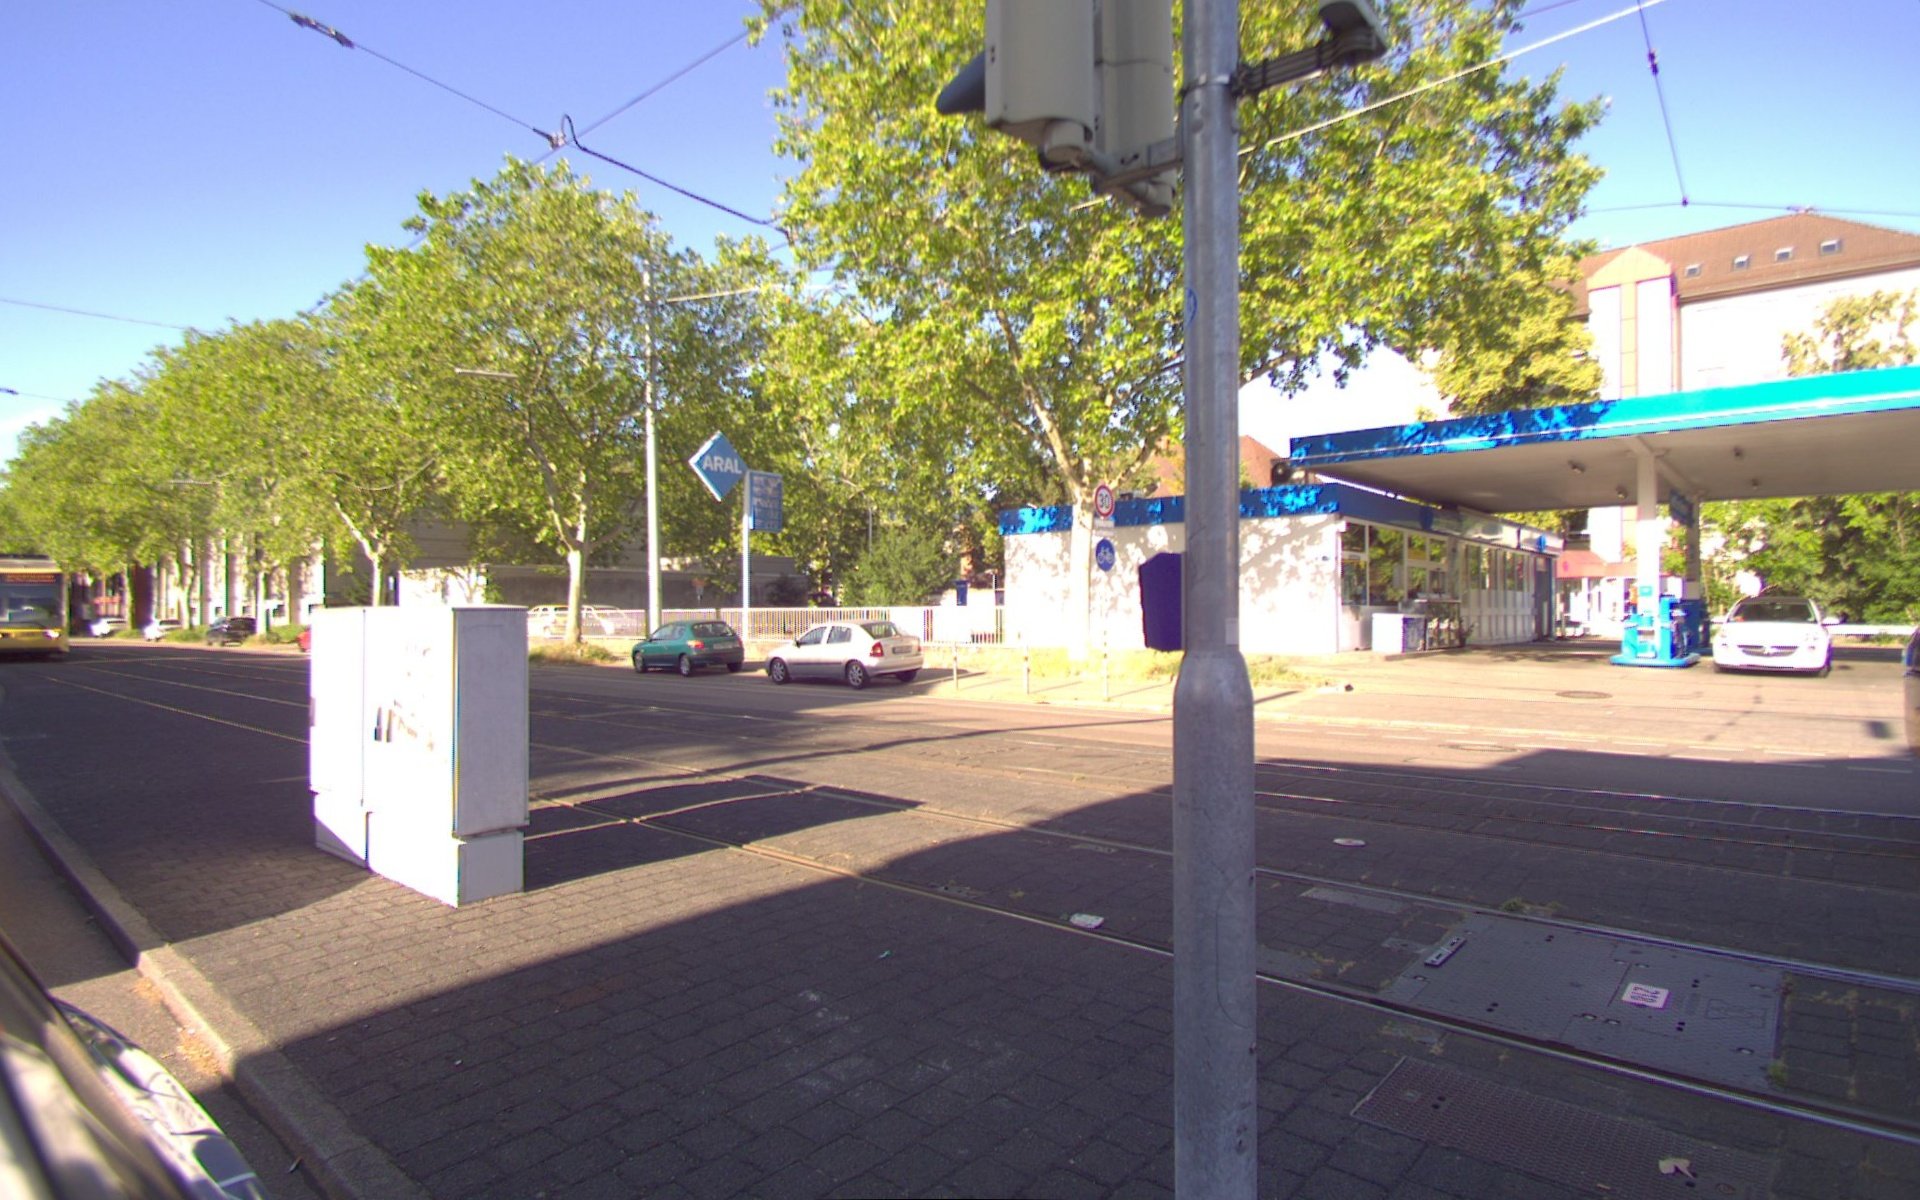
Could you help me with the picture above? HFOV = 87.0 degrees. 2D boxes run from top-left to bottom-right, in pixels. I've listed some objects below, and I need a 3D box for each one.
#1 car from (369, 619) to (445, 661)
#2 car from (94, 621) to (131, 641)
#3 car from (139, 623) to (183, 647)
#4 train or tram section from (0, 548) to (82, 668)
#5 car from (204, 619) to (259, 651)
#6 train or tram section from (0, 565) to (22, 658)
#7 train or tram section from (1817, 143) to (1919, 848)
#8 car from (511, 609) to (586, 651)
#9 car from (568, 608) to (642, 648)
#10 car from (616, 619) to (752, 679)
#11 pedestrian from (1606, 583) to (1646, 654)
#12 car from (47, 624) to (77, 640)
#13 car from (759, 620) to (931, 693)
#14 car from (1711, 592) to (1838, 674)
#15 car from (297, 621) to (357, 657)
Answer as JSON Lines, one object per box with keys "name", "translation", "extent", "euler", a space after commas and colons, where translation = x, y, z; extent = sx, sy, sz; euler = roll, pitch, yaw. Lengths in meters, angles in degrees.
{"name": "car", "translation": [-21.872, 1.559, 40.004], "extent": [3.303, 1.519, 1.579], "euler": [-1, 1, 41]}
{"name": "car", "translation": [-66.672, 2.448, 79.611], "extent": [3.748, 1.459, 1.674], "euler": [-1, 1, 41]}
{"name": "car", "translation": [-53.855, 2.344, 68.182], "extent": [3.748, 1.459, 1.674], "euler": [-1, 1, 41]}
{"name": "train or tram section", "translation": [-33.904, 0.357, 35.647], "extent": [12.646, 3.692, 2.683], "euler": [-1, -1, 41]}
{"name": "car", "translation": [-40.671, 1.941, 56.456], "extent": [3.748, 1.670, 1.674], "euler": [-1, 1, 41]}
{"name": "train or tram section", "translation": [-43.477, 0.552, 43.925], "extent": [12.646, 3.692, 2.683], "euler": [-1, -1, 41]}
{"name": "train or tram section", "translation": [11.113, -0.636, 2.722], "extent": [12.994, 3.843, 2.913], "euler": [-1, -1, 29]}
{"name": "car", "translation": [-17.080, 1.232, 41.971], "extent": [3.303, 1.628, 1.579], "euler": [-1, 0, 41]}
{"name": "car", "translation": [-15.261, 1.197, 43.448], "extent": [3.303, 1.604, 1.579], "euler": [-1, 0, 41]}
{"name": "car", "translation": [-7.397, 1.267, 26.971], "extent": [3.748, 1.413, 1.674], "euler": [-1, 1, 41]}
{"name": "pedestrian", "translation": [16.326, 0.441, 24.819], "extent": [0.638, 1.714, 0.502], "euler": [0, -1, -18]}
{"name": "car", "translation": [-85.231, 3.032, 96.049], "extent": [3.748, 1.459, 1.674], "euler": [-1, 1, 41]}
{"name": "car", "translation": [-2.634, 1.206, 22.643], "extent": [3.812, 1.413, 1.674], "euler": [-1, 1, 41]}
{"name": "car", "translation": [15.888, 0.612, 19.695], "extent": [1.757, 1.453, 3.521], "euler": [-1, -1, 41]}
{"name": "car", "translation": [-28.682, 1.757, 45.832], "extent": [2.621, 1.519, 1.579], "euler": [-1, 1, 41]}
